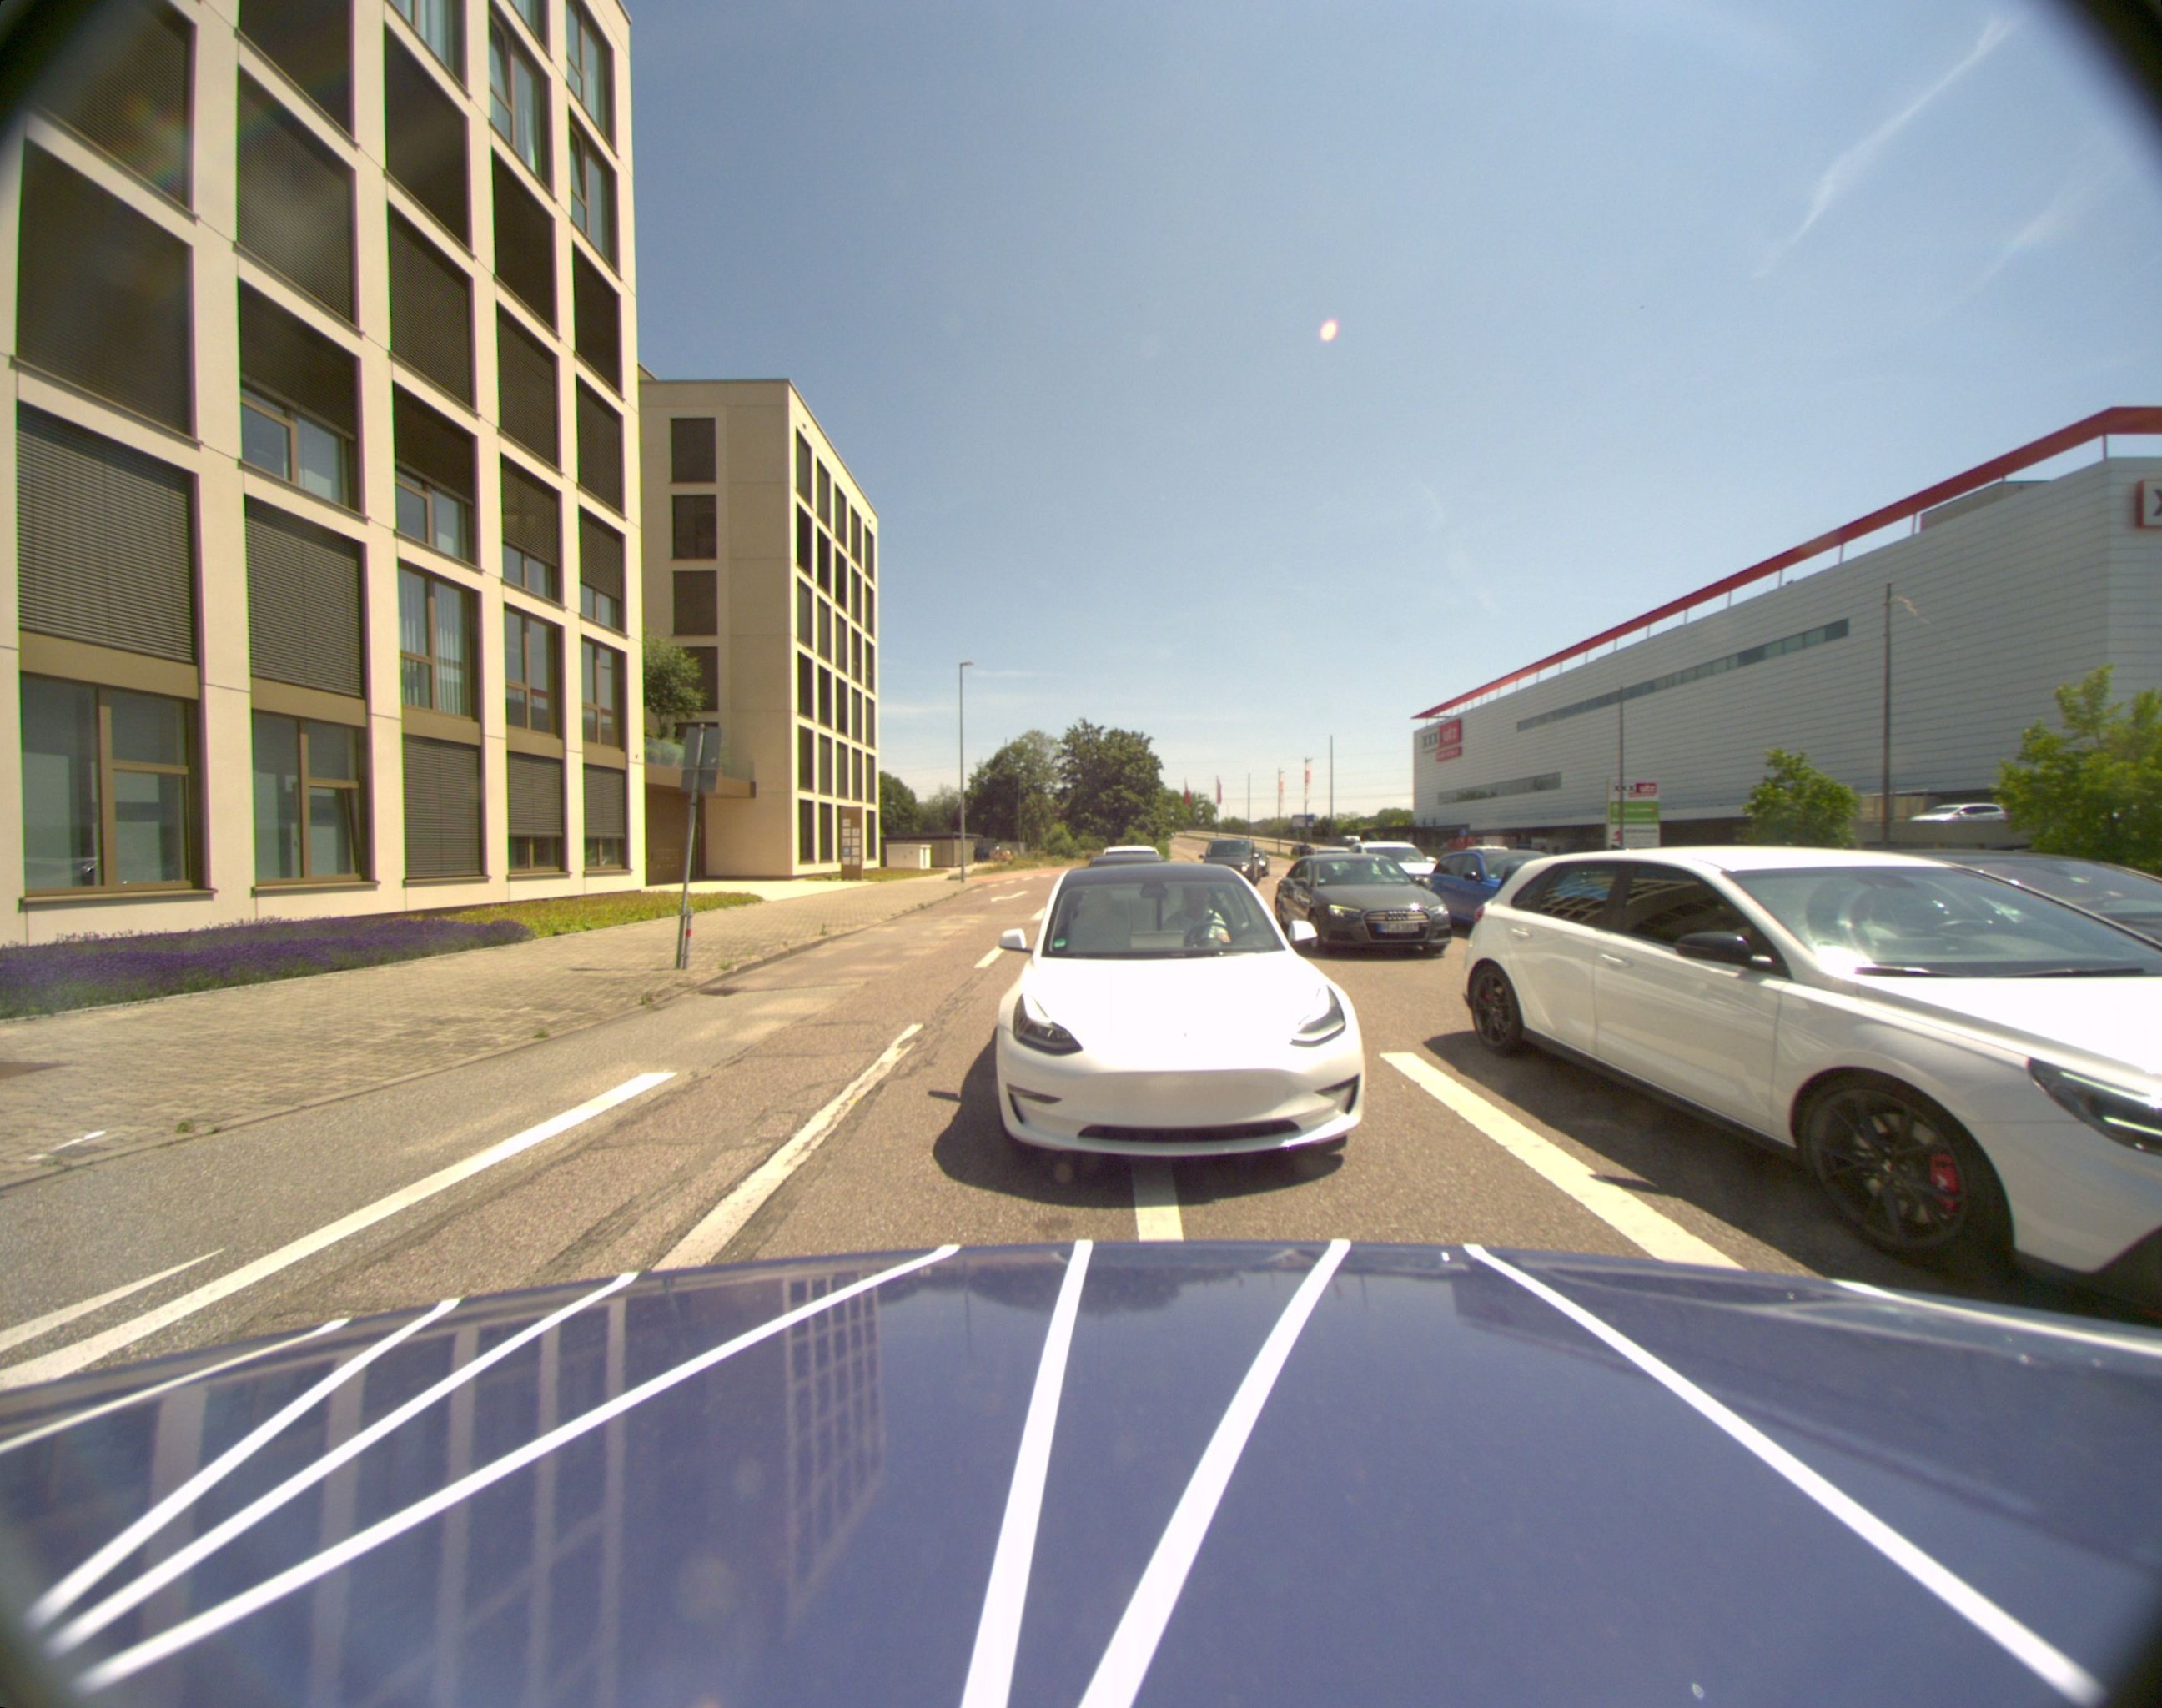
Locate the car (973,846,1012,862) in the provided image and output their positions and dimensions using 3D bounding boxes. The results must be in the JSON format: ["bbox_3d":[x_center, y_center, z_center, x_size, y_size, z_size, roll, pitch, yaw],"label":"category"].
[{"bbox_3d":[-9.254,-0.008,79.171,3.834,1.543,1.736,0,1,-13],"label":"car"}]

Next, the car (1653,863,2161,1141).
[{"bbox_3d":[6.601,0.805,5.473,1.675,1.396,4.467,-2,0,2],"label":"car"}]

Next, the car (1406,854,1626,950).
[{"bbox_3d":[7.391,0.716,13.481,1.768,1.395,4.433,-1,0,7],"label":"car"}]

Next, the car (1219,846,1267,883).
[{"bbox_3d":[7.558,0.431,35.197,1.811,1.630,4.005,0,1,18],"label":"car"}]

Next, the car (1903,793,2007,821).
[{"bbox_3d":[51.822,-2.762,45.088,3.996,1.499,1.718,0,1,4],"label":"car"}]

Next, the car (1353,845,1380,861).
[{"bbox_3d":[30.724,-0.105,81.900,1.866,1.713,4.045,0,0,6],"label":"car"}]

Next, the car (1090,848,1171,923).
[{"bbox_3d":[1.255,0.684,18.739,1.777,1.600,3.821,0,1,5],"label":"car"}]

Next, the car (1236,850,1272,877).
[{"bbox_3d":[9.913,0.528,43.428,1.606,1.431,3.738,0,1,19],"label":"car"}]

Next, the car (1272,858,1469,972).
[{"bbox_3d":[4.174,0.785,11.690,1.769,1.374,4.091,0,1,5],"label":"car"}]

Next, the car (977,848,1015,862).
[{"bbox_3d":[-9.107,0.104,81.213,3.834,1.386,1.736,0,1,-13],"label":"car"}]

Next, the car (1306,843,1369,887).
[{"bbox_3d":[9.124,0.371,27.259,1.767,1.414,3.903,-2,0,14],"label":"car"}]

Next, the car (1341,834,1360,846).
[{"bbox_3d":[51.911,-2.717,146.335,2.191,2.270,4.814,0,1,4],"label":"car"}]

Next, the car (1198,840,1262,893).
[{"bbox_3d":[5.707,0.389,28.634,1.893,1.811,4.842,0,1,17],"label":"car"}]

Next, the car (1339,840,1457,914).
[{"bbox_3d":[7.958,0.509,19.515,1.768,1.632,4.494,-2,1,9],"label":"car"}]

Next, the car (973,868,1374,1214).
[{"bbox_3d":[0.462,0.921,5.690,1.823,1.428,4.284,-2,1,1],"label":"car"}]

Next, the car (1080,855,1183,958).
[{"bbox_3d":[0.918,0.806,13.479,1.556,1.528,3.822,0,1,5],"label":"car"}]

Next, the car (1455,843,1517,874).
[{"bbox_3d":[23.559,0.246,44.345,1.866,1.713,4.044,0,1,7],"label":"car"}]

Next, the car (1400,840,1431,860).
[{"bbox_3d":[32.896,-0.372,74.850,1.817,1.893,3.730,0,1,7],"label":"car"}]

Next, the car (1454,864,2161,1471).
[{"bbox_3d":[3.684,0.835,3.659,1.792,1.428,4.070,-2,1,1],"label":"car"}]
